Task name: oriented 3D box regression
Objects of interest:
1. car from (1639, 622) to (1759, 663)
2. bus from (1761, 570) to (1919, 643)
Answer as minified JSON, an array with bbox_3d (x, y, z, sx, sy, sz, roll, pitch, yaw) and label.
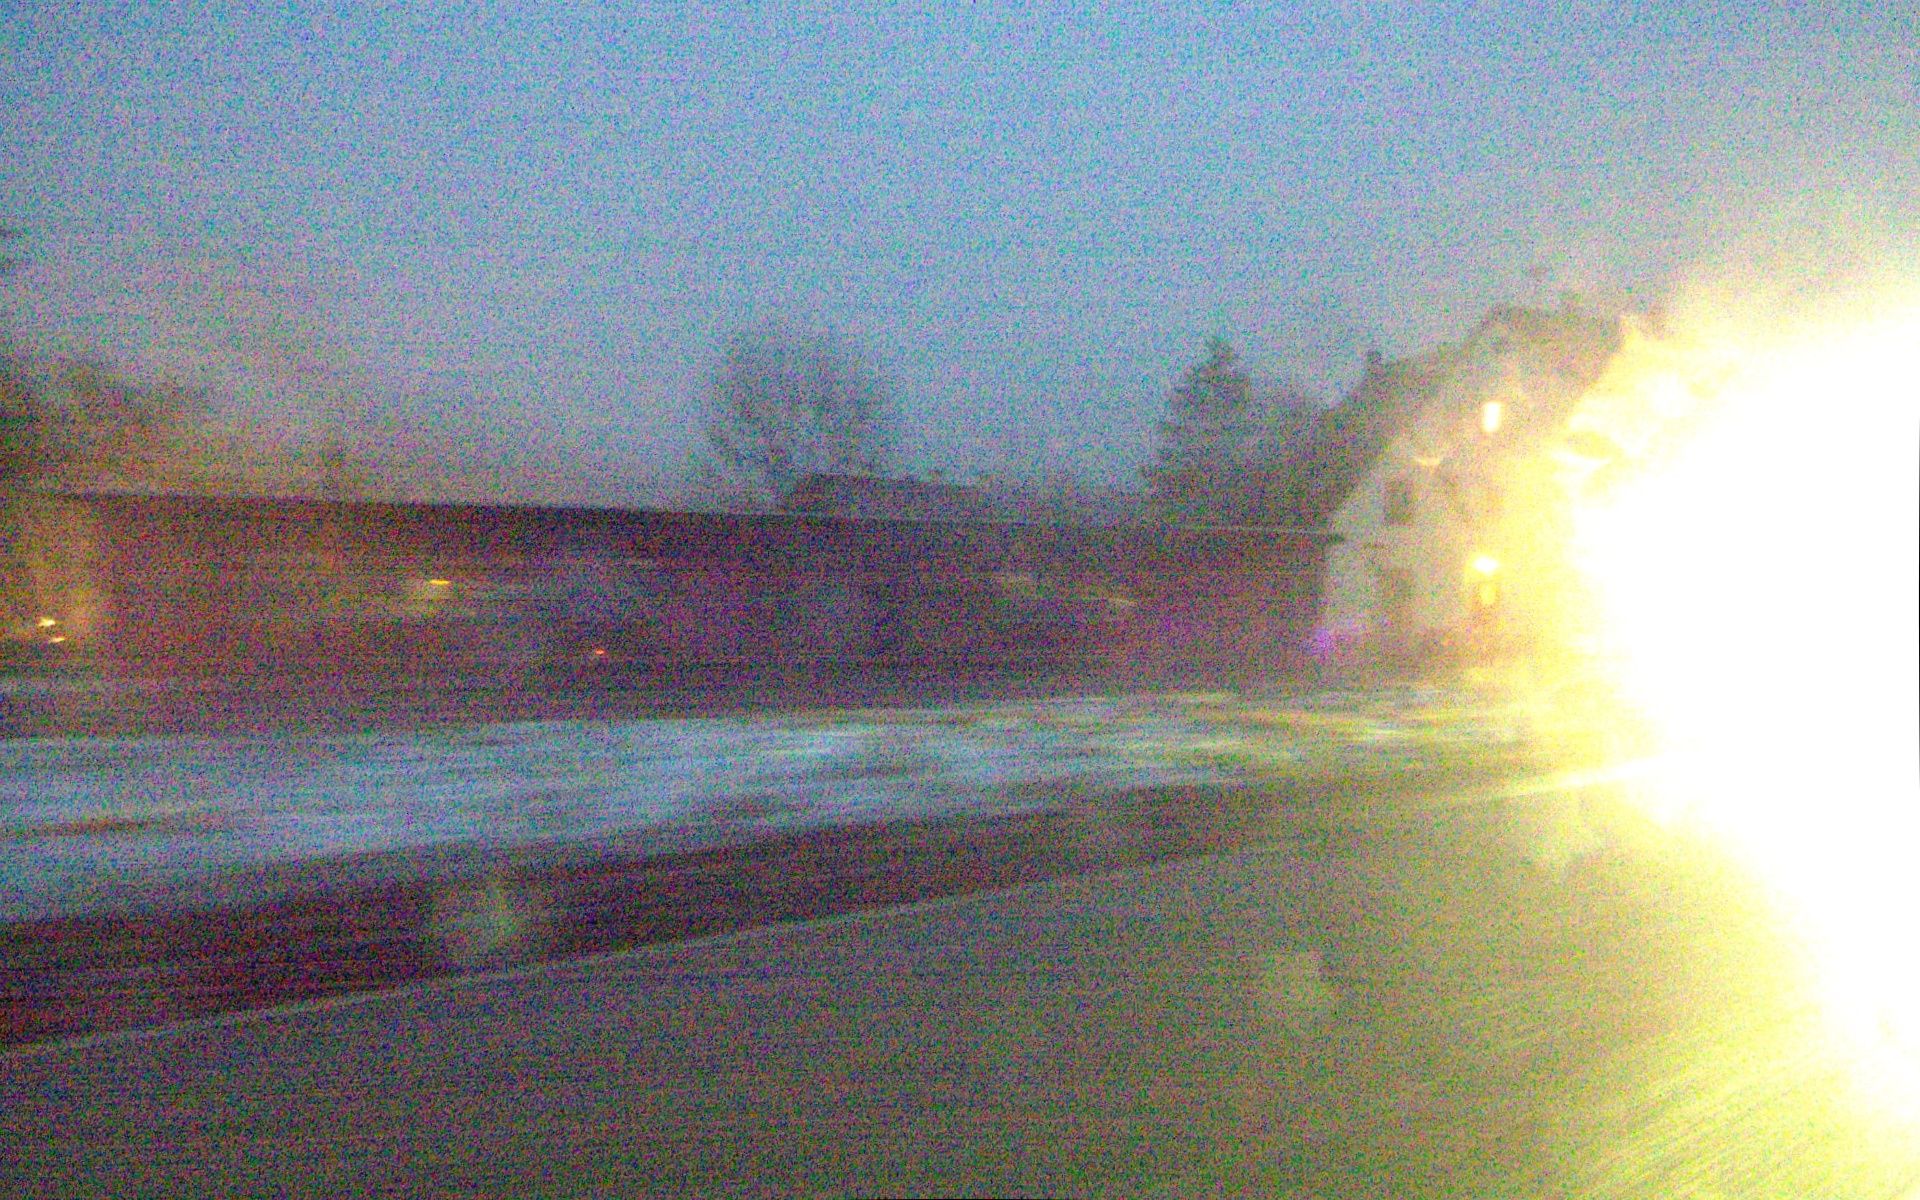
[{"bbox_3d":[27.298,1.555,37.099,4.091,1.416,1.685,0,-2,-23],"label":"car"},{"bbox_3d":[52.768,0.339,60.754,2.845,3.920,13.056,0,0,21],"label":"bus"}]
